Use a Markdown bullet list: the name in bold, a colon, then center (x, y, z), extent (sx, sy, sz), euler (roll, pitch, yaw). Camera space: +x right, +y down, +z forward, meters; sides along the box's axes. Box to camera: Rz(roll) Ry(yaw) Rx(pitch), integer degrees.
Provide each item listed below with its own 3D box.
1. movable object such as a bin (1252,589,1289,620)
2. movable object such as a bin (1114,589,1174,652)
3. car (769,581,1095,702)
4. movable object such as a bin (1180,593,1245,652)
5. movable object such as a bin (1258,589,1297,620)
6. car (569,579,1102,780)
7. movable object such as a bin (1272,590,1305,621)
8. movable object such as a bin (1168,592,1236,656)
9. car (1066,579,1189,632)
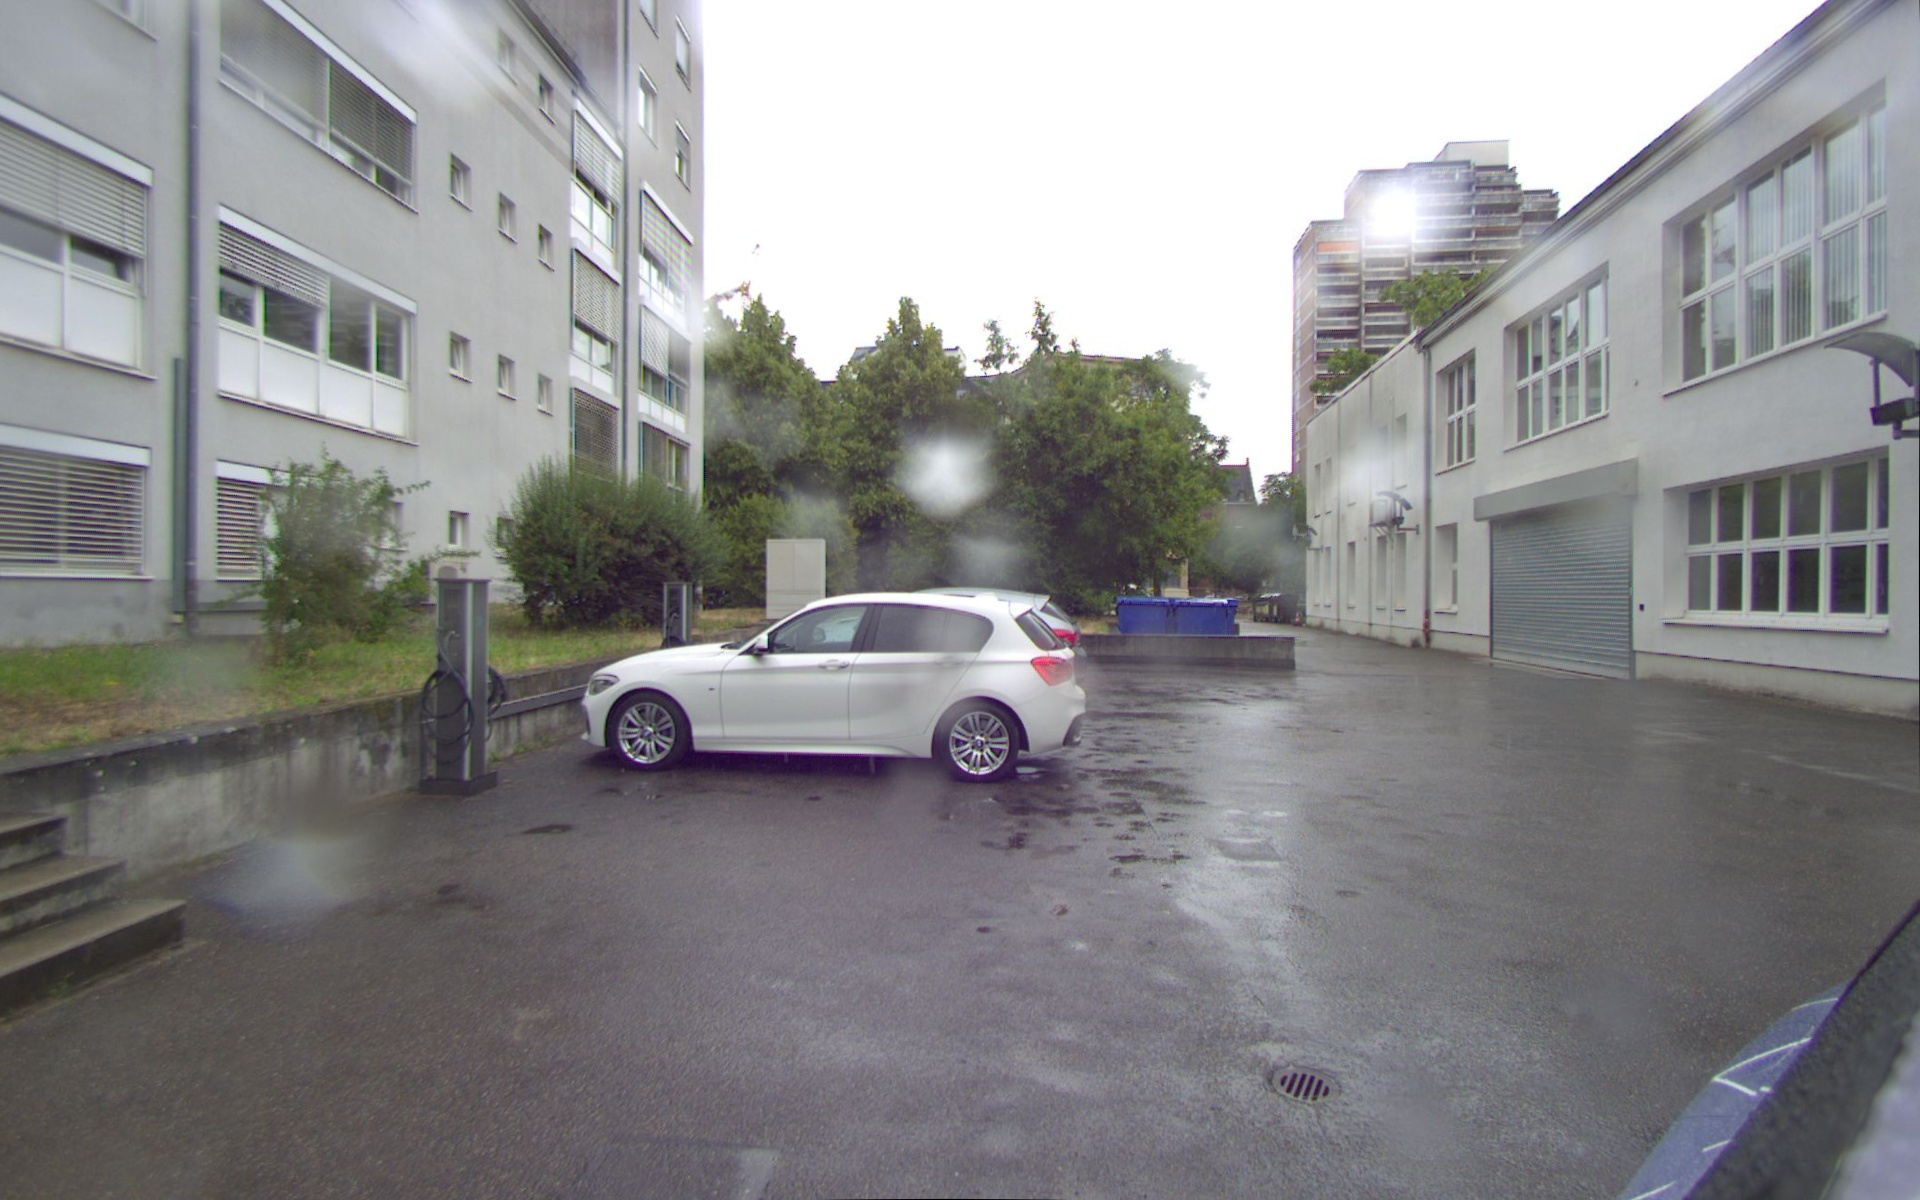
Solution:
- **movable object such as a bin**: center (15.585, 0.235, 50.781), extent (1.465, 1.467, 1.312), euler (-1, -2, 3)
- **movable object such as a bin**: center (4.210, 0.488, 23.320), extent (1.212, 1.375, 1.966), euler (-1, -2, 7)
- **car**: center (-0.314, 0.512, 13.817), extent (4.146, 1.508, 1.997), euler (0, 0, 5)
- **movable object such as a bin**: center (6.191, 0.554, 24.960), extent (1.291, 1.375, 1.900), euler (-1, -2, 8)
- **movable object such as a bin**: center (15.504, 0.231, 49.435), extent (1.465, 1.467, 1.312), euler (-1, -2, 3)
- **car**: center (-0.934, 0.593, 8.773), extent (4.146, 1.508, 1.997), euler (0, 0, 5)
- **movable object such as a bin**: center (15.520, 0.261, 47.848), extent (1.166, 1.392, 1.312), euler (-1, -2, 3)
- **movable object such as a bin**: center (5.497, 0.558, 23.131), extent (1.291, 1.375, 1.900), euler (-1, -2, 8)
- **car**: center (6.589, 0.254, 39.996), extent (4.622, 1.906, 2.116), euler (-1, -3, 10)
